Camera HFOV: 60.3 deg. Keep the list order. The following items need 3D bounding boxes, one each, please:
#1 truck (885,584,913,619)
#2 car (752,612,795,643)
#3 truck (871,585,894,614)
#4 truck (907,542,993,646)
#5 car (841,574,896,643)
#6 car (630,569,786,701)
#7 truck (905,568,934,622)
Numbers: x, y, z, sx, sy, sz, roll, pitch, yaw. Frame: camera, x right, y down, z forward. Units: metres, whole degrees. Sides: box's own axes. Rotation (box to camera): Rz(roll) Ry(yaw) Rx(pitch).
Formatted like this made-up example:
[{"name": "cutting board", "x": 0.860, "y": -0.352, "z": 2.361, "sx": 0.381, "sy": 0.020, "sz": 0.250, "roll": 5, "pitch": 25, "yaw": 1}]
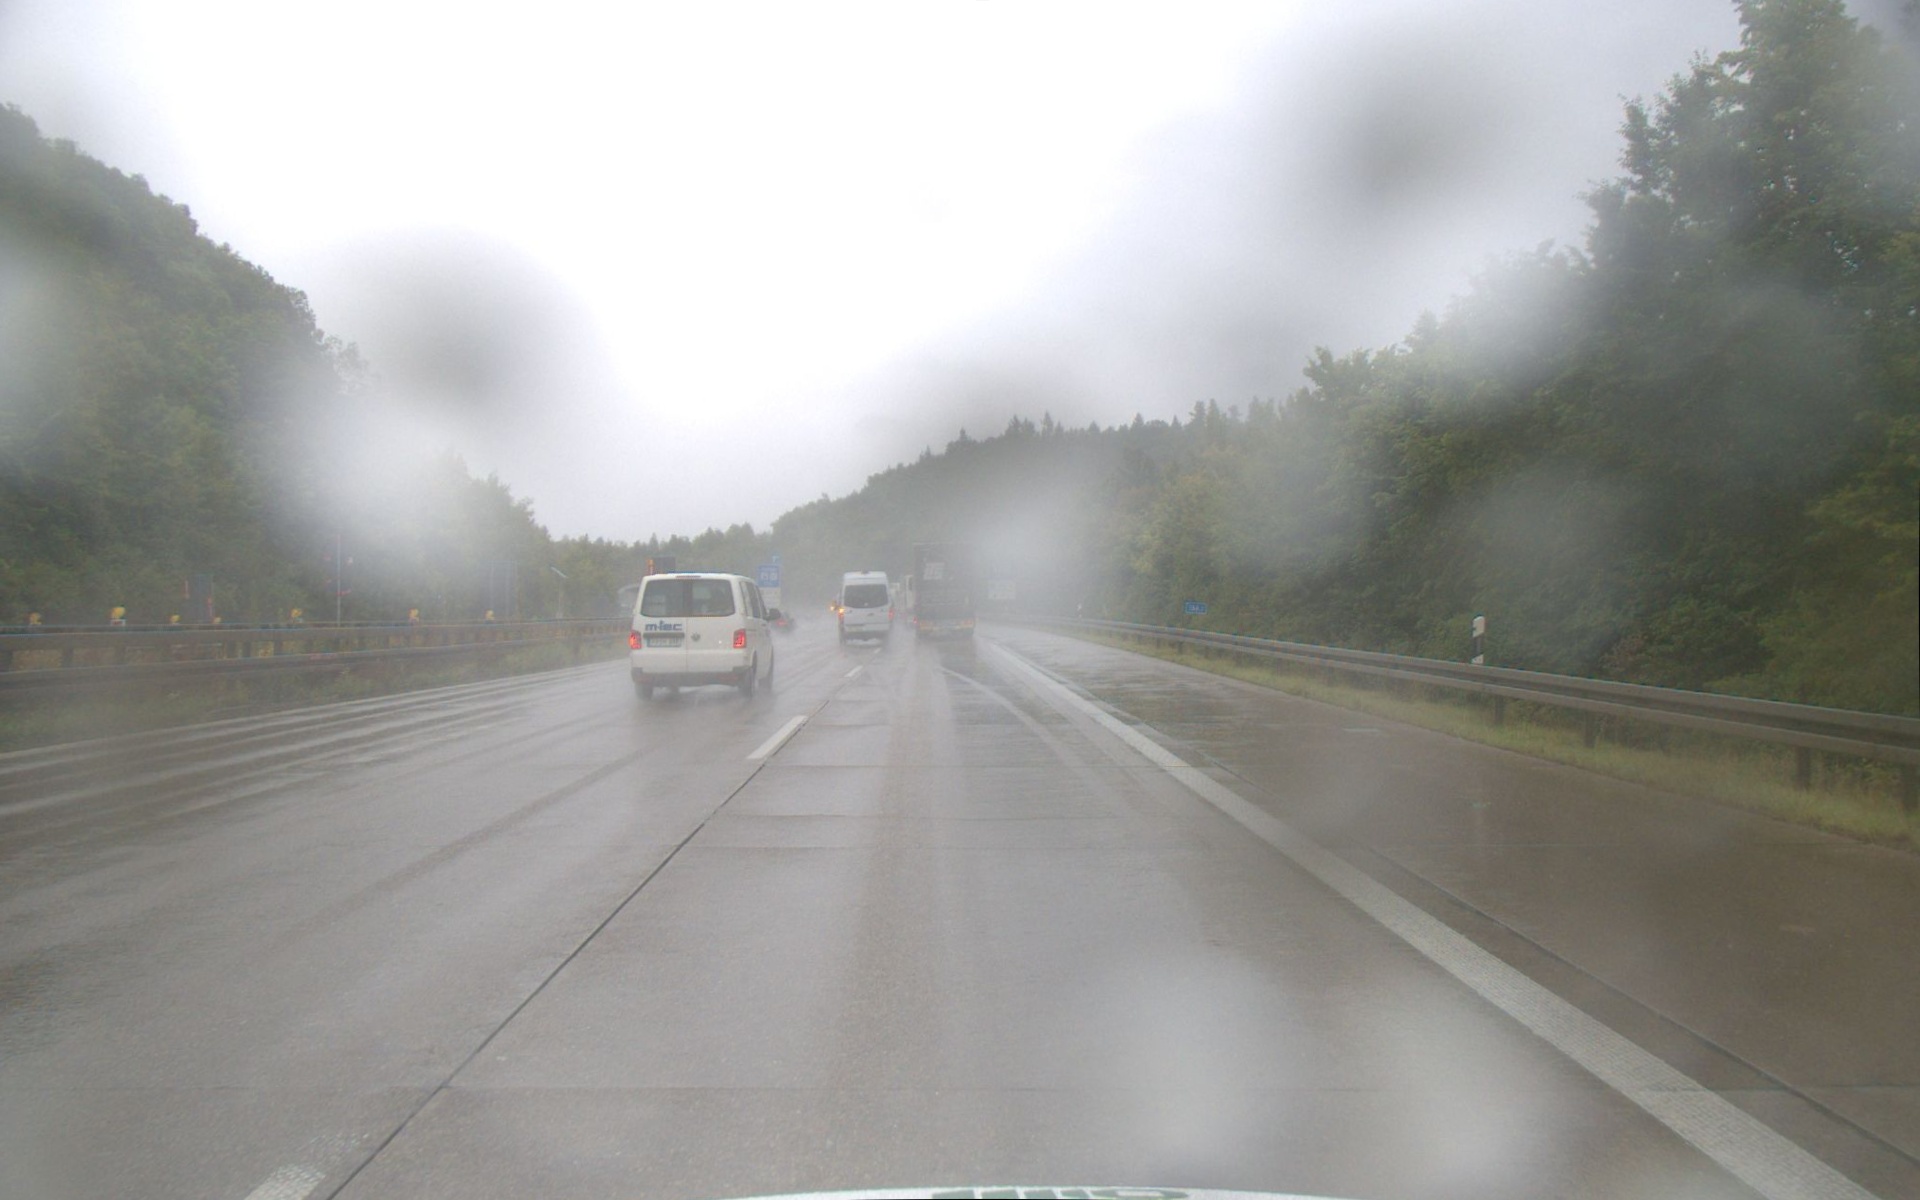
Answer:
[{"name": "truck", "x": -5.988, "y": 0.151, "z": 161.070, "sx": 1.956, "sy": 3.225, "sz": 6.721, "roll": -2, "pitch": 0, "yaw": -8}, {"name": "car", "x": -8.732, "y": 1.262, "z": 77.766, "sx": 1.706, "sy": 1.412, "sz": 4.319, "roll": -1, "pitch": 0, "yaw": -3}, {"name": "truck", "x": -9.122, "y": -0.040, "z": 193.567, "sx": 1.956, "sy": 3.225, "sz": 6.721, "roll": -2, "pitch": 0, "yaw": -8}, {"name": "truck", "x": -0.546, "y": -0.380, "z": 72.319, "sx": 3.317, "sy": 4.036, "sz": 8.664, "roll": -4, "pitch": 2, "yaw": -2}, {"name": "car", "x": -3.387, "y": 0.314, "z": 61.023, "sx": 1.862, "sy": 2.374, "sz": 5.246, "roll": 2, "pitch": 0, "yaw": -4}, {"name": "car", "x": -3.995, "y": 0.516, "z": 26.980, "sx": 1.861, "sy": 1.927, "sz": 5.041, "roll": -1, "pitch": 0, "yaw": -1}, {"name": "truck", "x": -3.009, "y": -0.369, "z": 124.679, "sx": 1.953, "sy": 3.872, "sz": 6.732, "roll": -2, "pitch": 0, "yaw": -1}]
